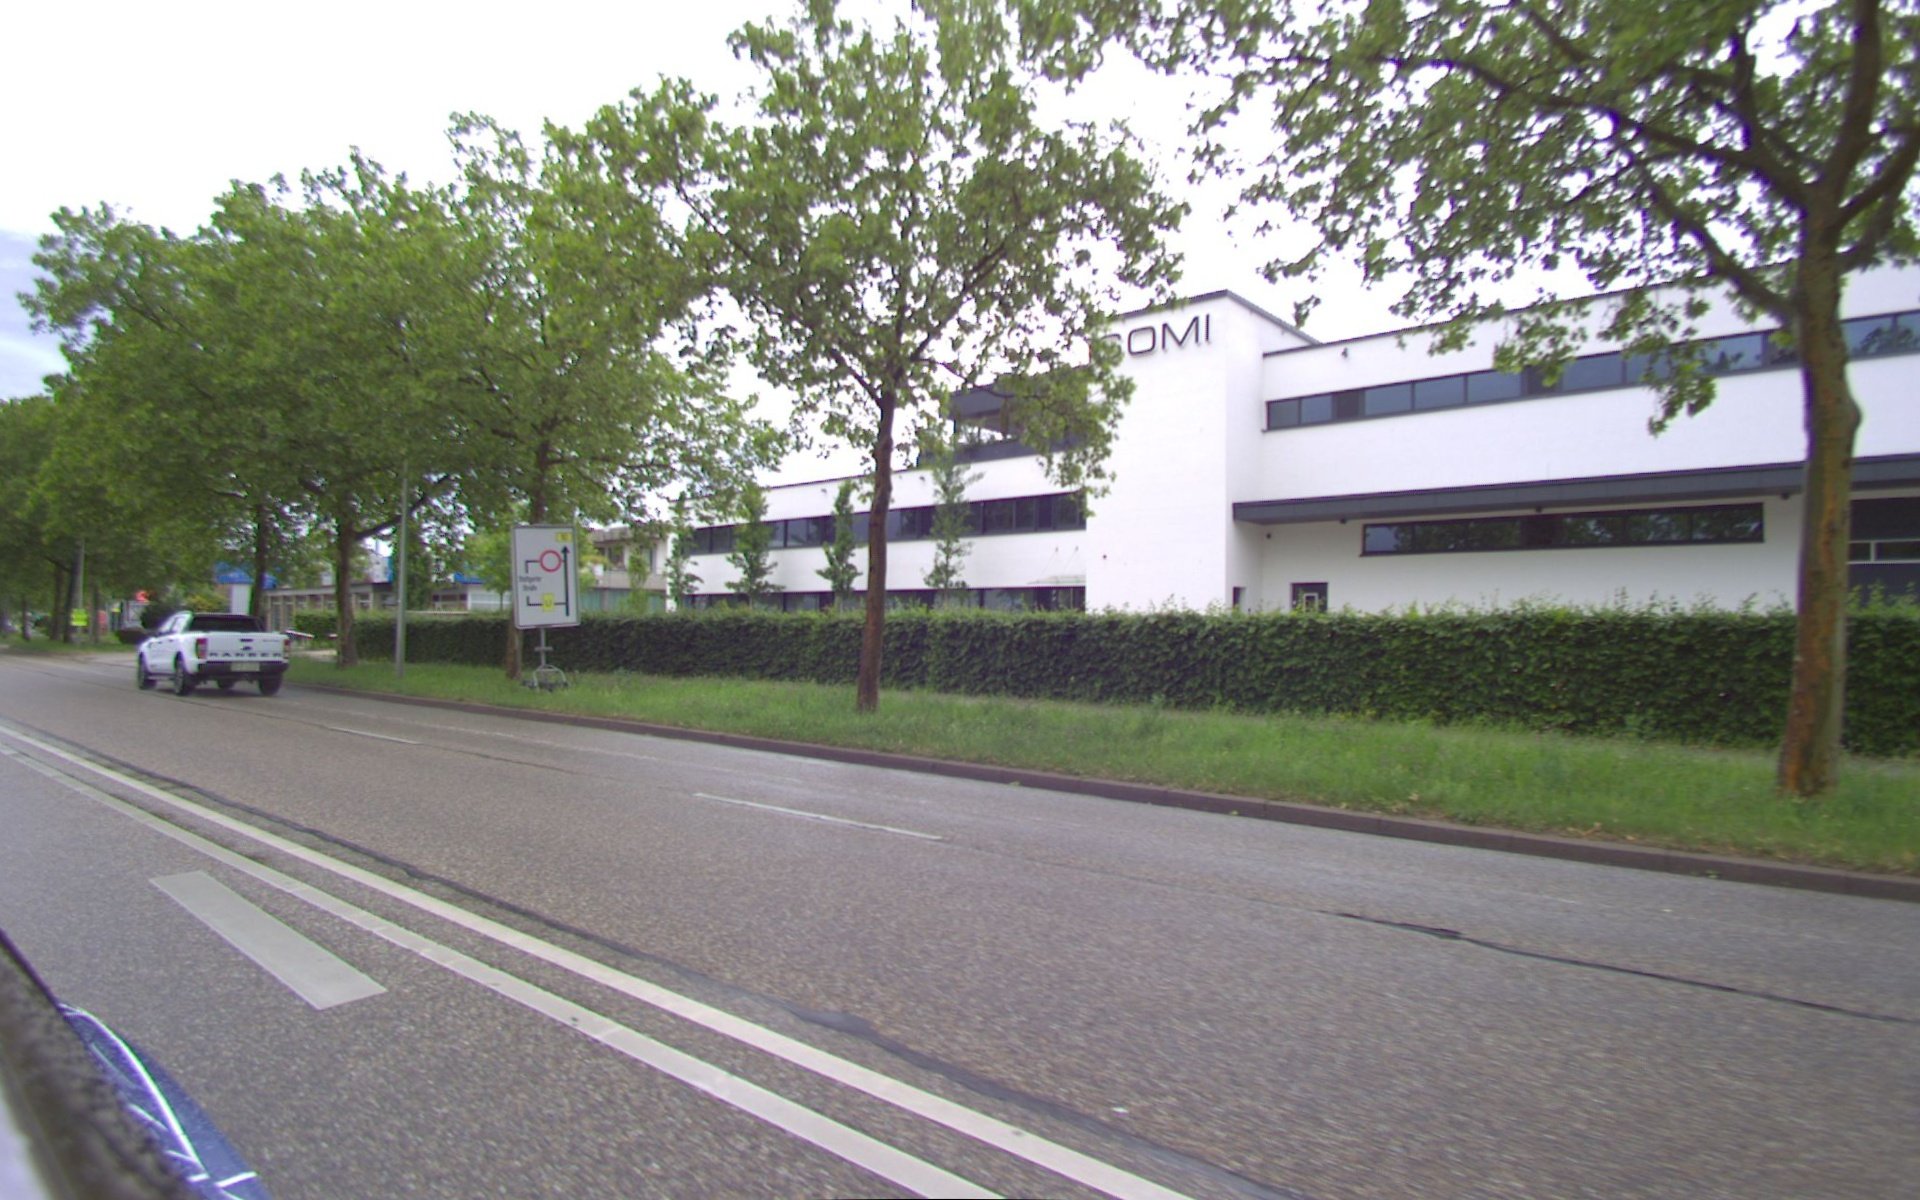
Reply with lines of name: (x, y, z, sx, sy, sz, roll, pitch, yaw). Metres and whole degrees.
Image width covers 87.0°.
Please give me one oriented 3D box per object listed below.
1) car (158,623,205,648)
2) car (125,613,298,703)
car: (-51.900, 2.338, 67.425, 3.999, 1.545, 1.723, -1, -4, 42)
car: (-17.162, 1.276, 23.094, 5.336, 1.819, 1.892, -1, -4, 40)
